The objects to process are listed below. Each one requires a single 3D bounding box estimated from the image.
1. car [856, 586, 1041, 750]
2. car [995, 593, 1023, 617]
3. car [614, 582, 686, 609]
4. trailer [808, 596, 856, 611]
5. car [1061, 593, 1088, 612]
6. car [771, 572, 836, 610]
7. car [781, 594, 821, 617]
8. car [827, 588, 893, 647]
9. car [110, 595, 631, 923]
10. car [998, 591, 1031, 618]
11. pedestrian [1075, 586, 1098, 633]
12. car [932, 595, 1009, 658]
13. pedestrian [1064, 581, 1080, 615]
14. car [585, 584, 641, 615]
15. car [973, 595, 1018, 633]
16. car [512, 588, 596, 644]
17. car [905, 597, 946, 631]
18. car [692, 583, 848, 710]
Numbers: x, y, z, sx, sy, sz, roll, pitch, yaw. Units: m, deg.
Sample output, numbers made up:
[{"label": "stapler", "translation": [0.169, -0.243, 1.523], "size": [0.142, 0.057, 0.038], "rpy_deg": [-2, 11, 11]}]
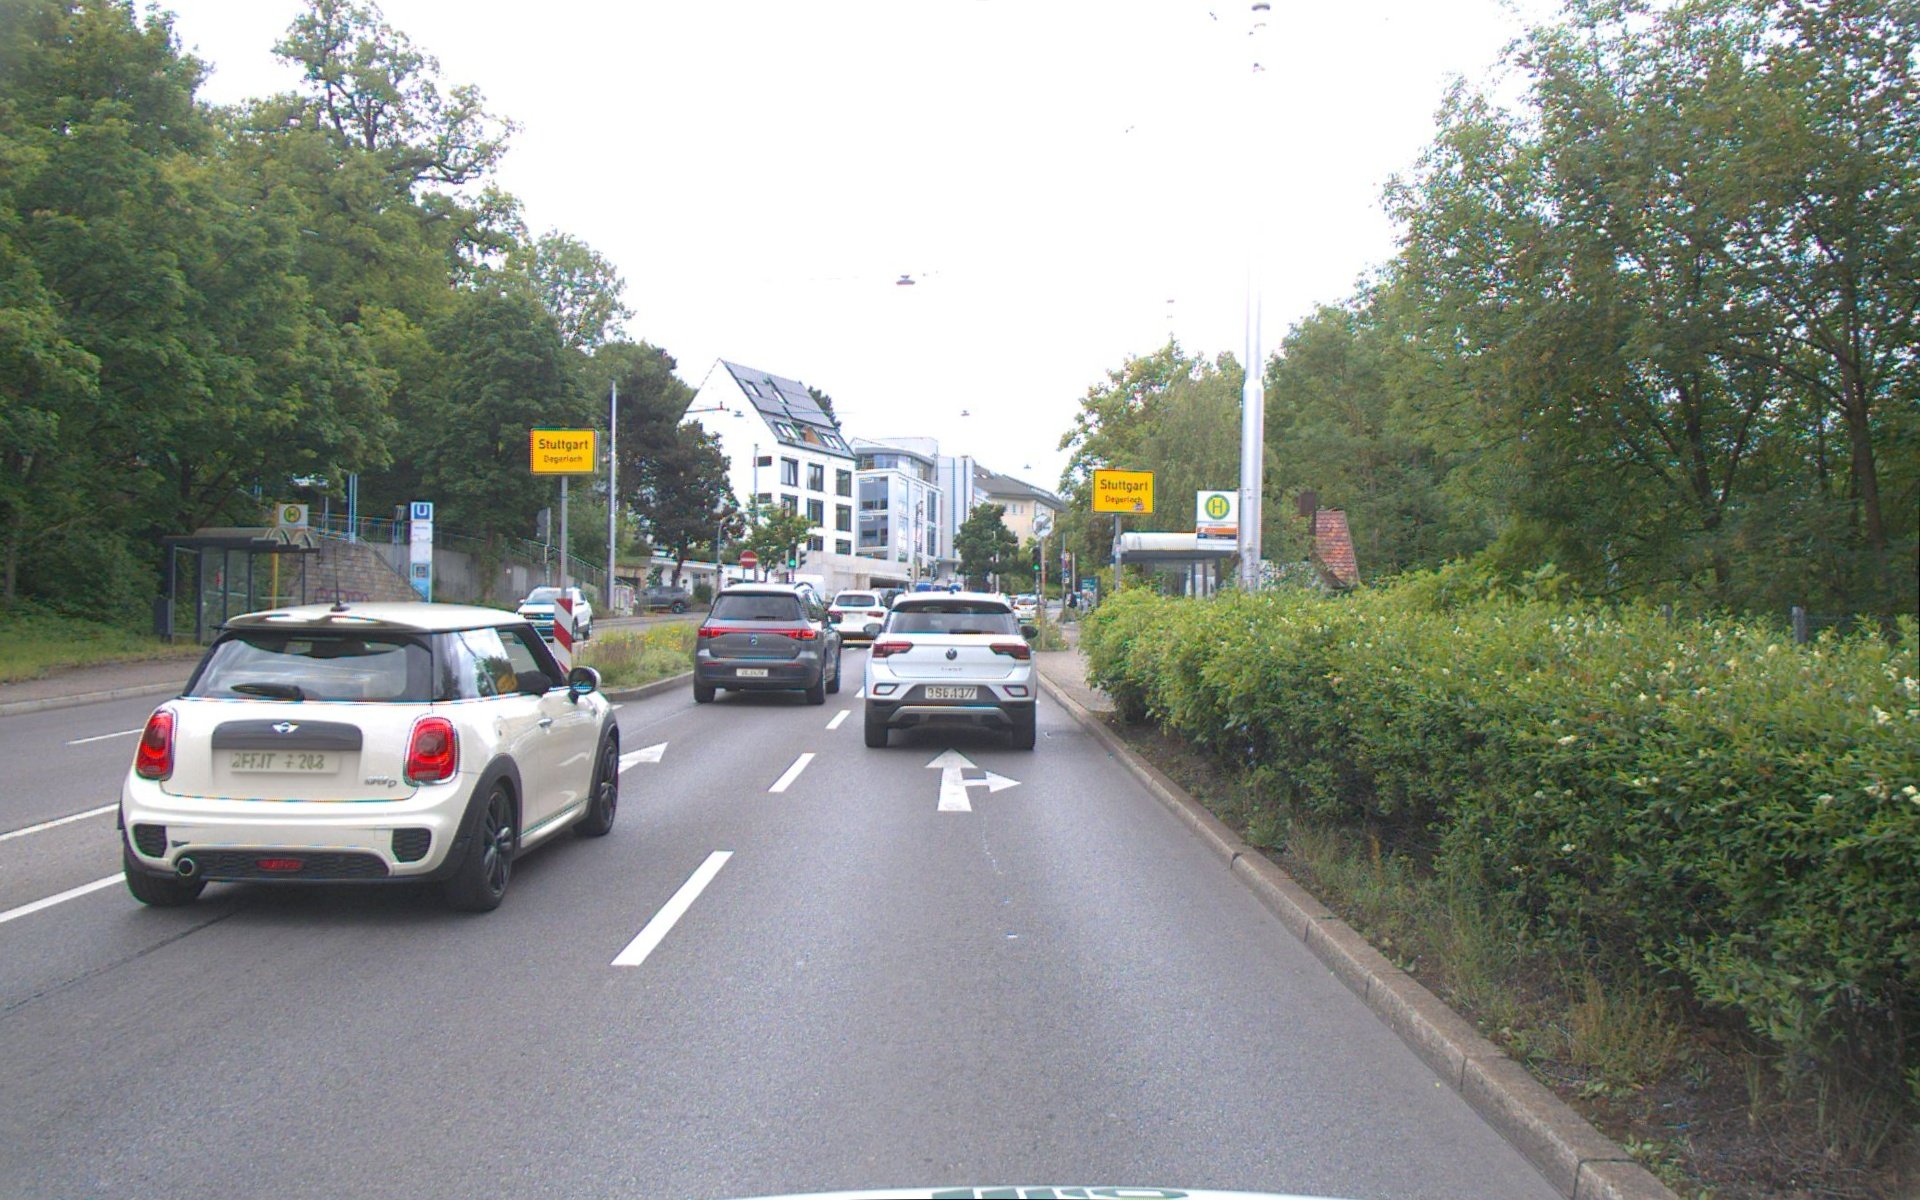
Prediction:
[{"label": "car", "translation": [-0.168, 0.648, 17.789], "size": [1.775, 1.566, 3.688], "rpy_deg": [0, 0, -2]}, {"label": "car", "translation": [3.225, 0.335, 109.218], "size": [1.819, 1.527, 4.056], "rpy_deg": [0, 0, 2]}, {"label": "car", "translation": [-17.919, -0.266, 95.761], "size": [4.043, 1.567, 1.595], "rpy_deg": [0, 0, -9]}, {"label": "trailer", "translation": [-9.642, 0.260, 124.853], "size": [2.199, 1.131, 4.625], "rpy_deg": [0, 0, 15]}, {"label": "car", "translation": [9.548, 0.209, 137.726], "size": [1.818, 1.527, 4.059], "rpy_deg": [0, 0, 9]}, {"label": "car", "translation": [-11.223, -0.640, 119.073], "size": [2.184, 2.613, 7.427], "rpy_deg": [0, 0, 15]}, {"label": "car", "translation": [-10.681, 0.338, 111.379], "size": [1.587, 1.491, 3.930], "rpy_deg": [0, 0, 11]}, {"label": "car", "translation": [-2.961, 0.495, 49.672], "size": [1.820, 1.681, 4.634], "rpy_deg": [0, 0, -2]}, {"label": "car", "translation": [-2.919, 0.686, 8.982], "size": [1.595, 1.418, 3.565], "rpy_deg": [0, 0, -1]}, {"label": "car", "translation": [3.120, 0.266, 95.259], "size": [1.820, 1.527, 4.056], "rpy_deg": [0, 0, 1]}, {"label": "pedestrian", "translation": [4.686, 0.365, 61.080], "size": [0.679, 1.718, 0.620], "rpy_deg": [-1, -1, 21]}, {"label": "car", "translation": [0.225, 0.648, 42.261], "size": [1.820, 1.527, 4.054], "rpy_deg": [0, 0, -2]}, {"label": "pedestrian", "translation": [6.168, -0.115, 91.031], "size": [0.683, 1.866, 0.616], "rpy_deg": [2, 0, -20]}, {"label": "car", "translation": [-19.096, -0.006, 91.045], "size": [2.666, 1.547, 1.552], "rpy_deg": [4, -1, -24]}, {"label": "car", "translation": [1.595, 0.613, 73.081], "size": [1.834, 1.527, 4.556], "rpy_deg": [3, 0, 2]}, {"label": "car", "translation": [-12.047, 0.463, 49.302], "size": [1.694, 1.568, 4.040], "rpy_deg": [1, 0, -4]}, {"label": "car", "translation": [-1.599, 0.609, 76.273], "size": [1.820, 1.527, 4.054], "rpy_deg": [0, 0, -2]}, {"label": "car", "translation": [-2.687, 0.612, 24.309], "size": [1.776, 1.681, 4.635], "rpy_deg": [0, 0, 0]}]
